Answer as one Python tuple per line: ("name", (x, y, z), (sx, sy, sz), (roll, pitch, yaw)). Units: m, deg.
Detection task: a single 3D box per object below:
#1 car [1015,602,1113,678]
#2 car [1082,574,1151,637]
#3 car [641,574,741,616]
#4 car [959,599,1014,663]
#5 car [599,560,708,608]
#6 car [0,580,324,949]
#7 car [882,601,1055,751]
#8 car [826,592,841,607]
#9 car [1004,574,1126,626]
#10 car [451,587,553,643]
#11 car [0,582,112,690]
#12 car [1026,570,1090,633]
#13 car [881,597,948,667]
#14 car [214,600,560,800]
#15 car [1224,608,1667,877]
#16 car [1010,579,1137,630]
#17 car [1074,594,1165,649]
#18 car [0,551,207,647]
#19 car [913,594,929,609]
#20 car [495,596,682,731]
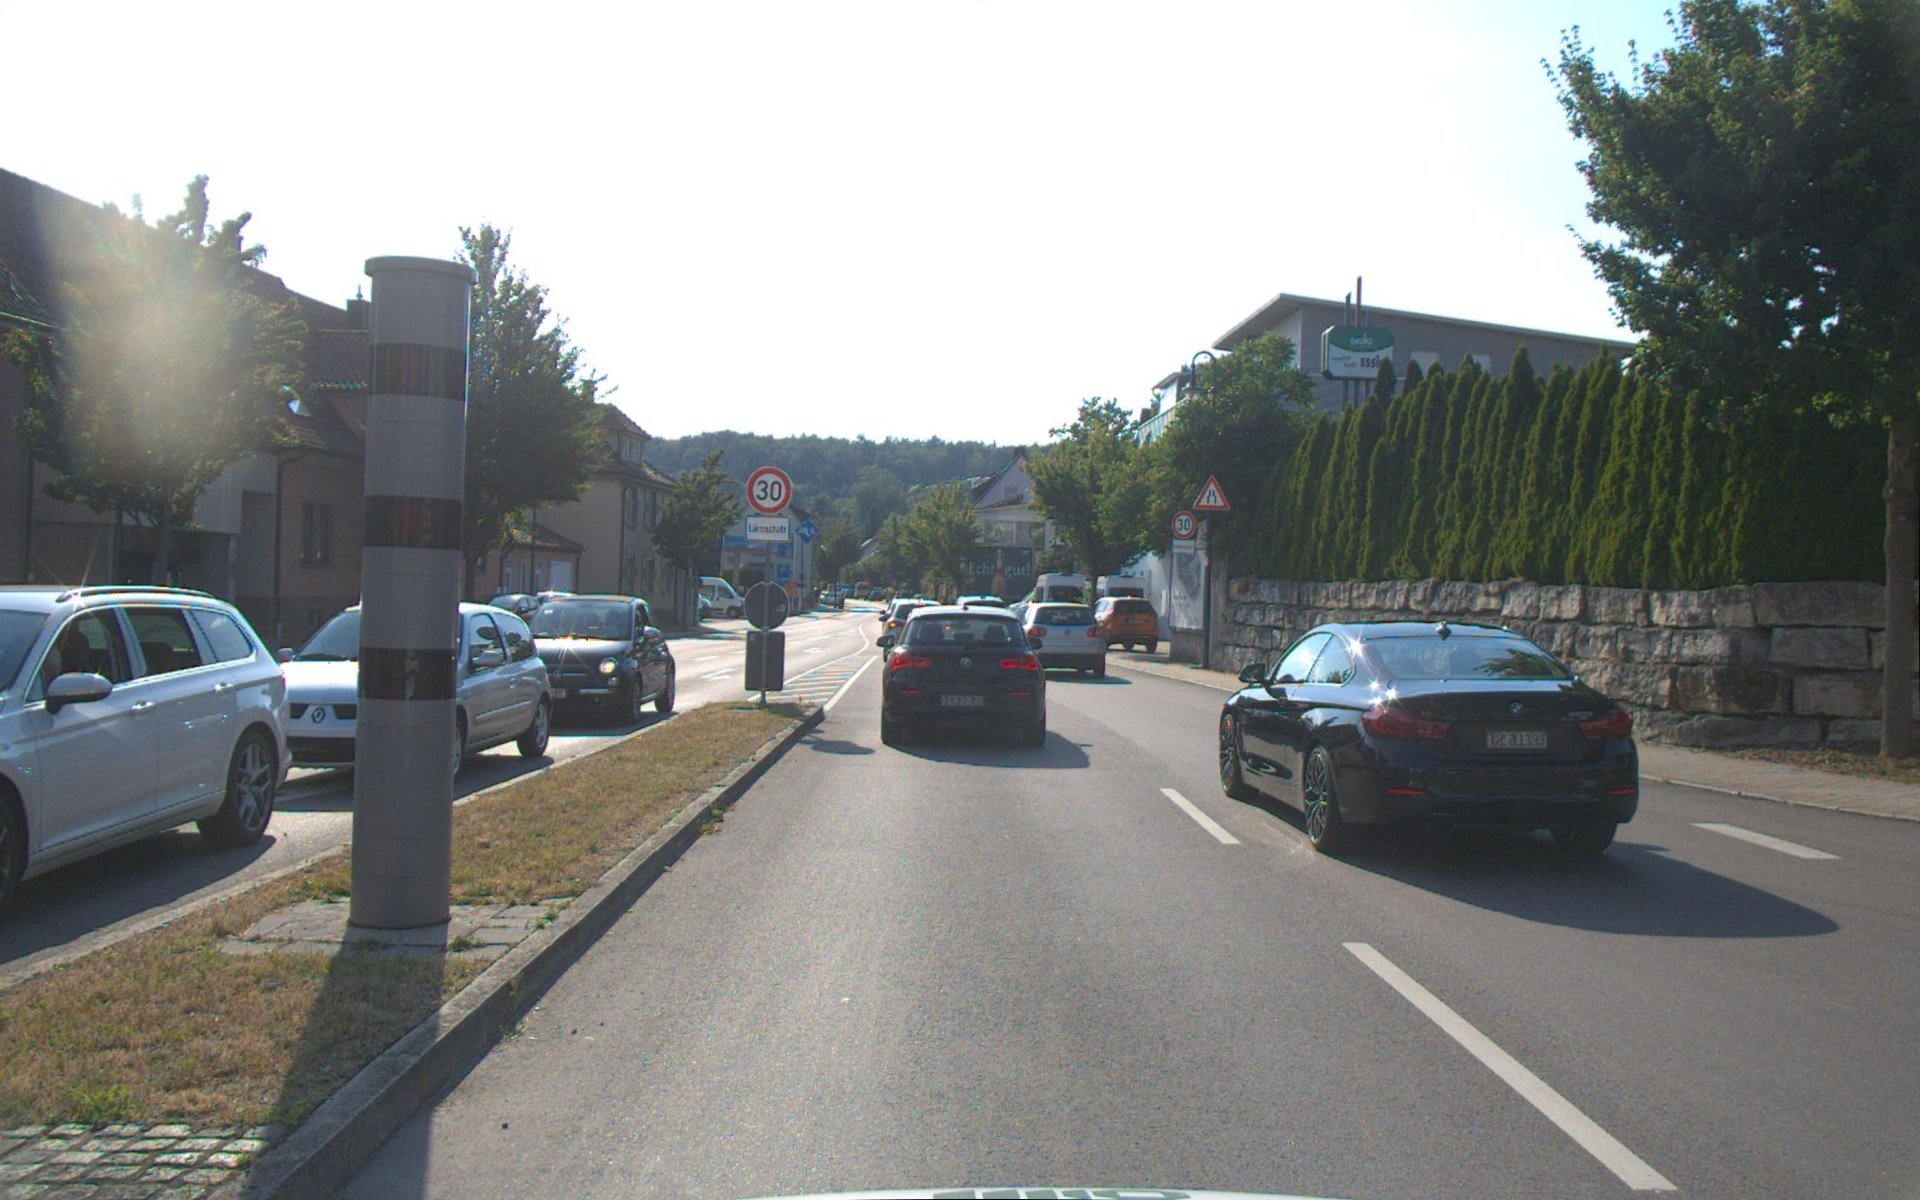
("car", (2.091, 0.779, 33.985), (1.718, 1.438, 3.421), (0, 1, -1))
("car", (7.084, 0.201, 75.603), (2.070, 2.769, 6.438), (0, 1, -4))
("car", (-17.139, -0.334, 105.563), (6.035, 2.487, 2.248), (1, 0, -3))
("car", (0.776, 0.908, 49.707), (1.570, 1.798, 3.411), (0, 1, 0))
("car", (-17.730, -0.926, 95.806), (5.797, 2.522, 2.195), (1, 4, 2))
("car", (-4.890, 0.666, 8.165), (1.798, 1.514, 4.565), (0, 1, -1))
("car", (0.049, 0.764, 18.318), (1.736, 1.482, 3.515), (0, 0, -1))
("car", (-14.034, -0.060, 184.068), (1.565, 1.511, 3.472), (1, 0, -4))
("car", (5.252, -0.007, 83.361), (5.925, 2.560, 2.042), (0, 0, -5))
("car", (-13.660, 0.429, 49.532), (1.631, 1.513, 4.002), (3, 0, 4))
("car", (-14.541, 0.498, 24.850), (1.586, 1.537, 4.131), (0, 1, -2))
("car", (4.410, 0.035, 75.370), (2.107, 2.727, 6.598), (0, 1, -4))
("car", (-1.188, 0.760, 41.533), (1.560, 1.628, 3.891), (0, 1, -3))
("car", (-4.616, 0.733, 13.859), (1.556, 1.452, 3.579), (0, 0, 1))
("car", (3.009, 0.790, 11.210), (1.665, 1.393, 4.261), (0, 1, -2))
("car", (5.472, 0.207, 80.400), (5.925, 2.404, 2.042), (0, 0, -5))
("car", (5.104, 0.661, 53.422), (1.801, 1.678, 4.528), (1, 0, -10))
("car", (-19.071, -0.028, 36.762), (3.742, 1.914, 1.779), (3, 0, 1))
("car", (-4.069, 0.169, 171.819), (1.565, 1.511, 3.472), (1, 0, -4))
("car", (-4.489, 0.708, 20.435), (1.501, 1.487, 3.506), (0, 1, 0))
